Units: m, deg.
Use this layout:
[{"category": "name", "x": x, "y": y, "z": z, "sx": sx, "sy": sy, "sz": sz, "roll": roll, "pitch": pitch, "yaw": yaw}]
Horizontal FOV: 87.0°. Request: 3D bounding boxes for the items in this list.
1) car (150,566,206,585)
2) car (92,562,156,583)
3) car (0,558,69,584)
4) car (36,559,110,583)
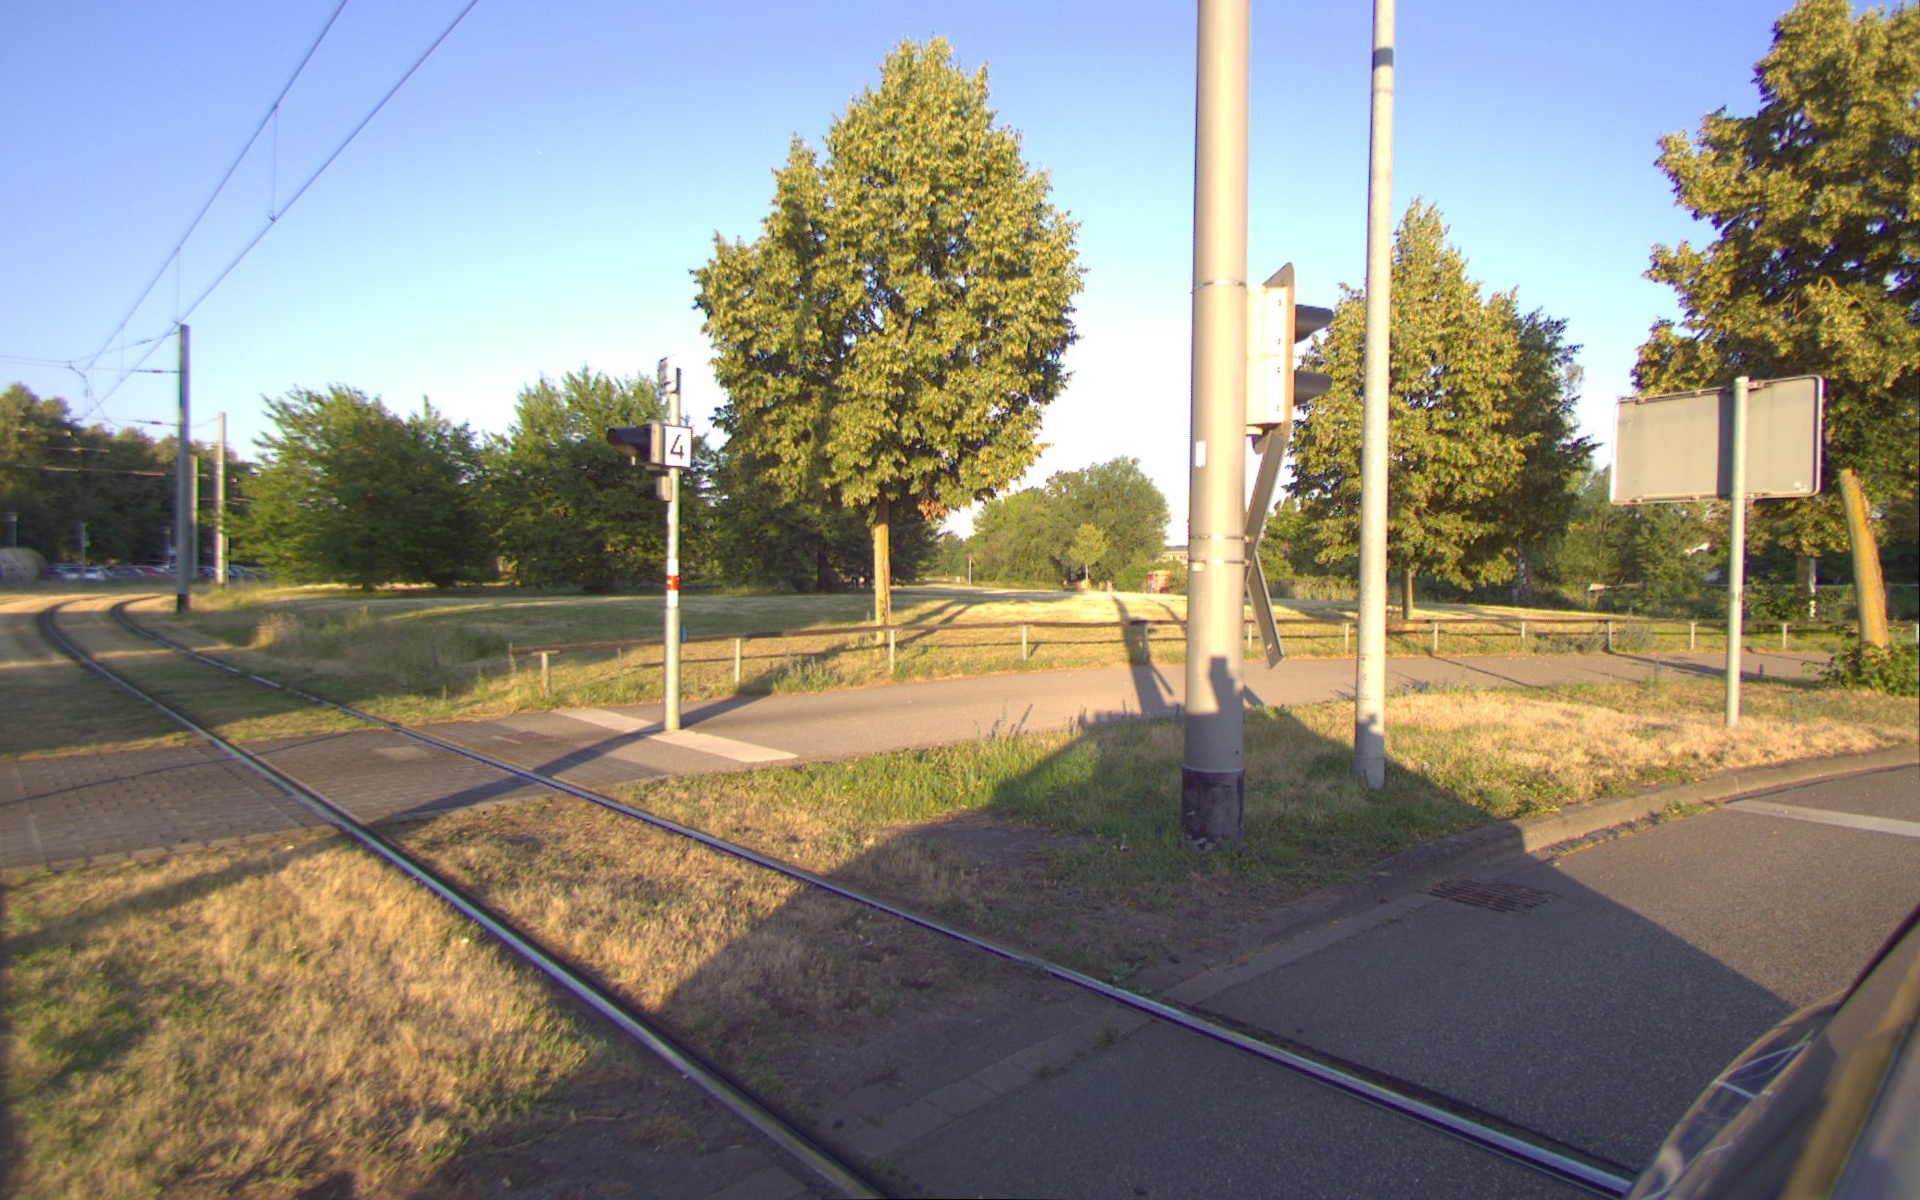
[{"category": "car", "x": -67.015, "y": -2.083, "z": 86.798, "sx": 3.537, "sy": 1.501, "sz": 1.713, "roll": 2, "pitch": -1, "yaw": -27}, {"category": "car", "x": -65.378, "y": -2.105, "z": 79.208, "sx": 3.537, "sy": 1.501, "sz": 1.713, "roll": 2, "pitch": -1, "yaw": -27}, {"category": "car", "x": -58.833, "y": -1.847, "z": 63.894, "sx": 3.537, "sy": 1.501, "sz": 1.713, "roll": 2, "pitch": -1, "yaw": -27}, {"category": "car", "x": -61.551, "y": -1.974, "z": 70.298, "sx": 3.537, "sy": 1.501, "sz": 1.713, "roll": 2, "pitch": -1, "yaw": -27}]
